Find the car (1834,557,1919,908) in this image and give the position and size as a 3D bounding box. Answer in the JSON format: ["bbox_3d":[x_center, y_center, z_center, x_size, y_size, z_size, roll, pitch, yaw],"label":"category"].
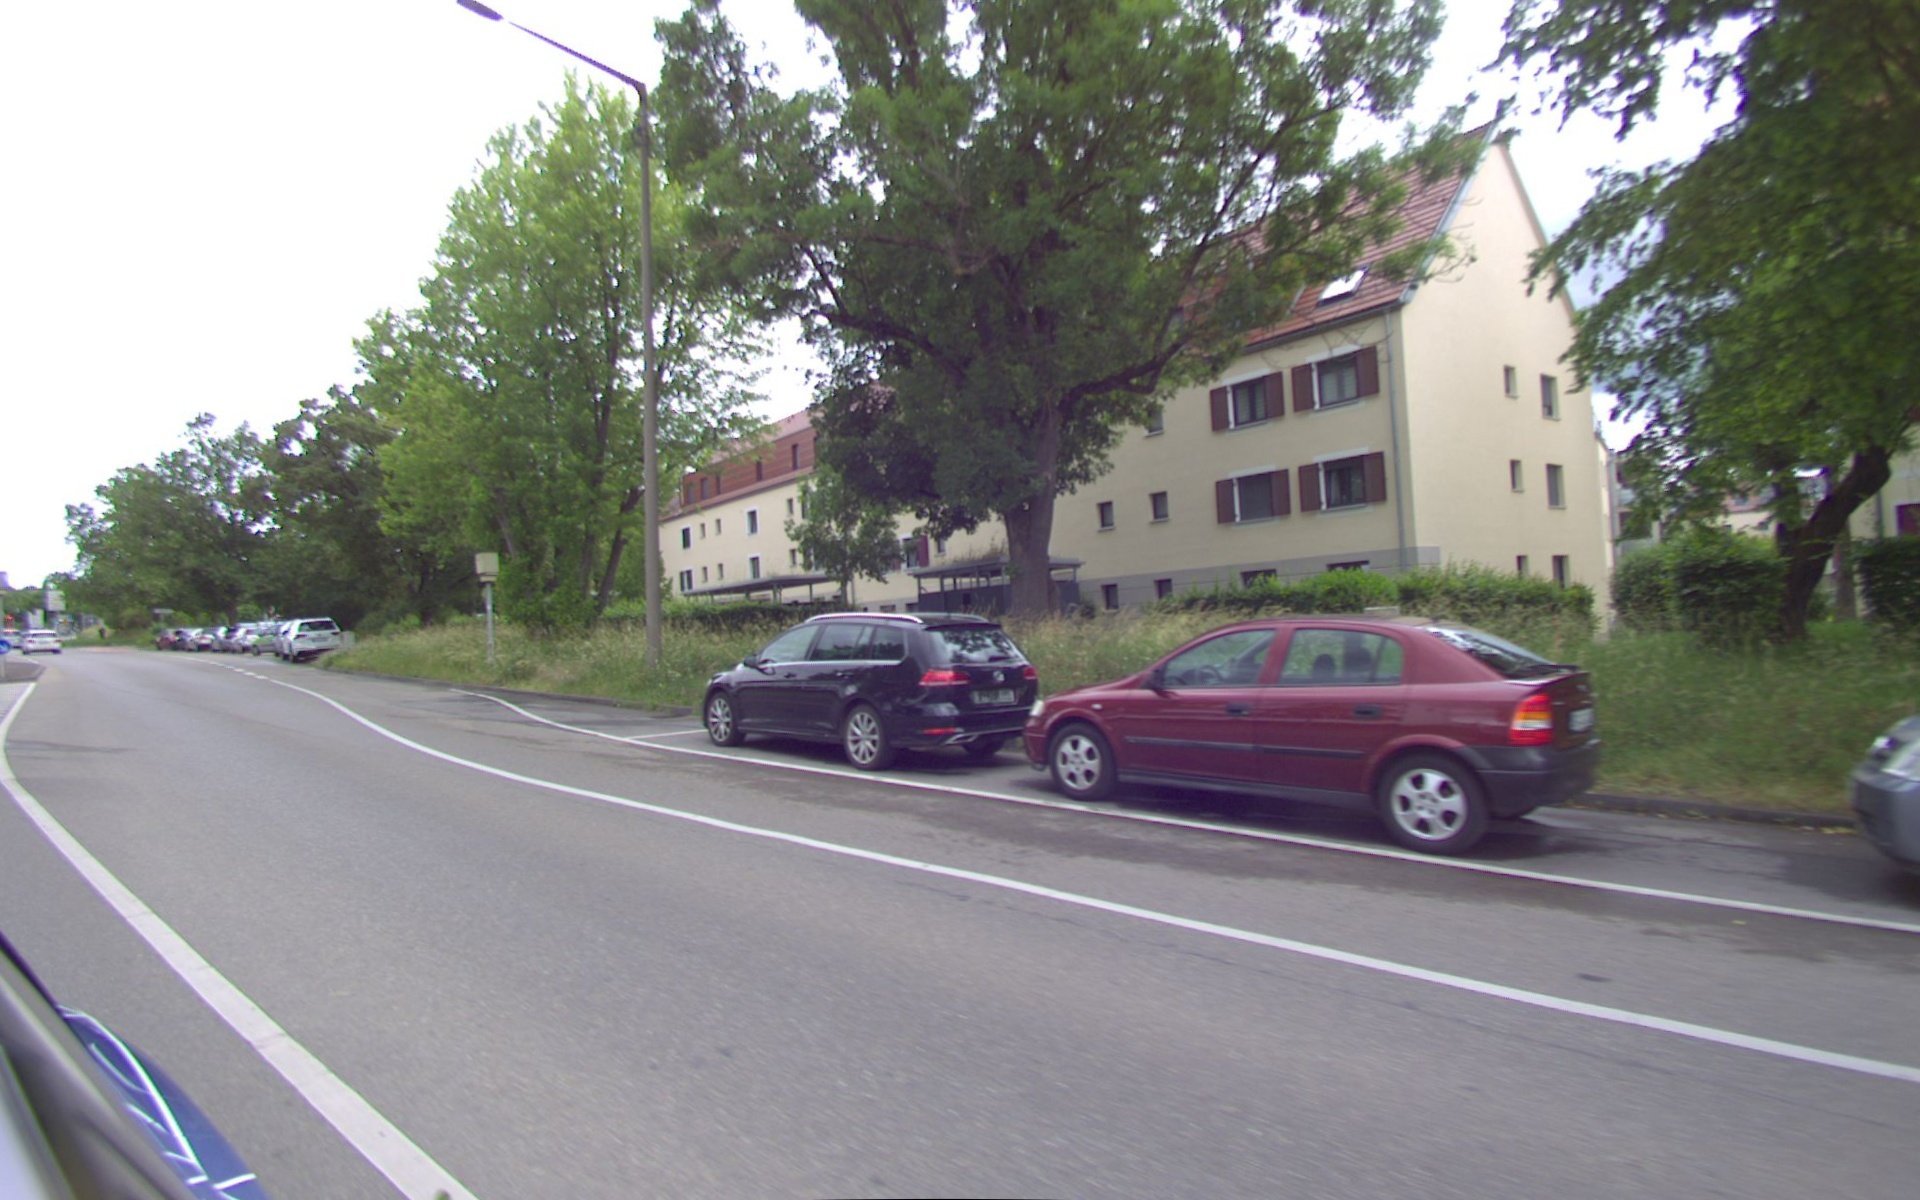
[{"bbox_3d":[6.321,0.555,4.099,4.132,1.604,1.750,-2,-1,41],"label":"car"}]

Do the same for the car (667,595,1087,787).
[{"bbox_3d":[-1.084,0.799,10.759,4.652,1.582,1.854,-2,0,45],"label":"car"}]

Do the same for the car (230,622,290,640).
[{"bbox_3d":[-78.592,3.480,113.639,1.740,2.029,5.226,-1,-2,43],"label":"car"}]

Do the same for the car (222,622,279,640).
[{"bbox_3d":[-82.491,3.614,117.713,1.739,2.029,5.228,-1,-2,41],"label":"car"}]

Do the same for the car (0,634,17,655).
[{"bbox_3d":[-88.498,4.122,93.318,4.405,1.783,1.809,-2,0,42],"label":"car"}]

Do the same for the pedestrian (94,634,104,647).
[{"bbox_3d":[-98.980,4.647,116.365,0.639,1.458,0.747,-1,0,43],"label":"pedestrian"}]

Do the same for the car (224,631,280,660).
[{"bbox_3d":[-39.287,2.513,56.132,4.001,1.518,1.854,-3,-2,44],"label":"car"}]

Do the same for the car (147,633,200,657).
[{"bbox_3d":[-54.542,3.126,70.165,3.880,1.518,1.858,-2,0,36],"label":"car"}]

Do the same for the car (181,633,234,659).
[{"bbox_3d":[-47.219,2.870,63.488,4.056,1.518,1.855,-2,0,42],"label":"car"}]

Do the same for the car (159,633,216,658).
[{"bbox_3d":[-51.384,3.011,67.299,3.989,1.518,1.860,-2,0,34],"label":"car"}]

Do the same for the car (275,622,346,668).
[{"bbox_3d":[-26.401,1.782,41.067,1.852,1.679,4.398,-1,0,-40],"label":"car"}]

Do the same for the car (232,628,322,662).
[{"bbox_3d":[-33.497,2.207,49.648,3.976,1.518,1.866,-2,-1,24],"label":"car"}]

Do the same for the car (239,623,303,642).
[{"bbox_3d":[-73.191,3.454,107.545,2.011,2.029,5.228,-1,-2,41],"label":"car"}]

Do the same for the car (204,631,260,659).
[{"bbox_3d":[-42.878,2.644,59.577,3.999,1.518,1.855,-3,-1,42],"label":"car"}]

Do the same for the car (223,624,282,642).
[{"bbox_3d":[-80.903,3.744,115.808,1.739,2.029,5.228,-1,-2,41],"label":"car"}]

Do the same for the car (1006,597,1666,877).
[{"bbox_3d":[2.478,0.772,7.386,4.150,1.458,1.748,-2,-1,44],"label":"car"}]

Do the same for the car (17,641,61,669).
[{"bbox_3d":[-60.125,3.552,66.060,4.341,1.582,1.854,-1,1,45],"label":"car"}]

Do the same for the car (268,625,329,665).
[{"bbox_3d":[-30.031,2.016,45.887,1.852,1.608,4.007,-1,1,-40],"label":"car"}]

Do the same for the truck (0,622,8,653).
[{"bbox_3d":[-110.654,4.299,115.646,2.791,3.507,7.830,0,-1,-43],"label":"truck"}]
